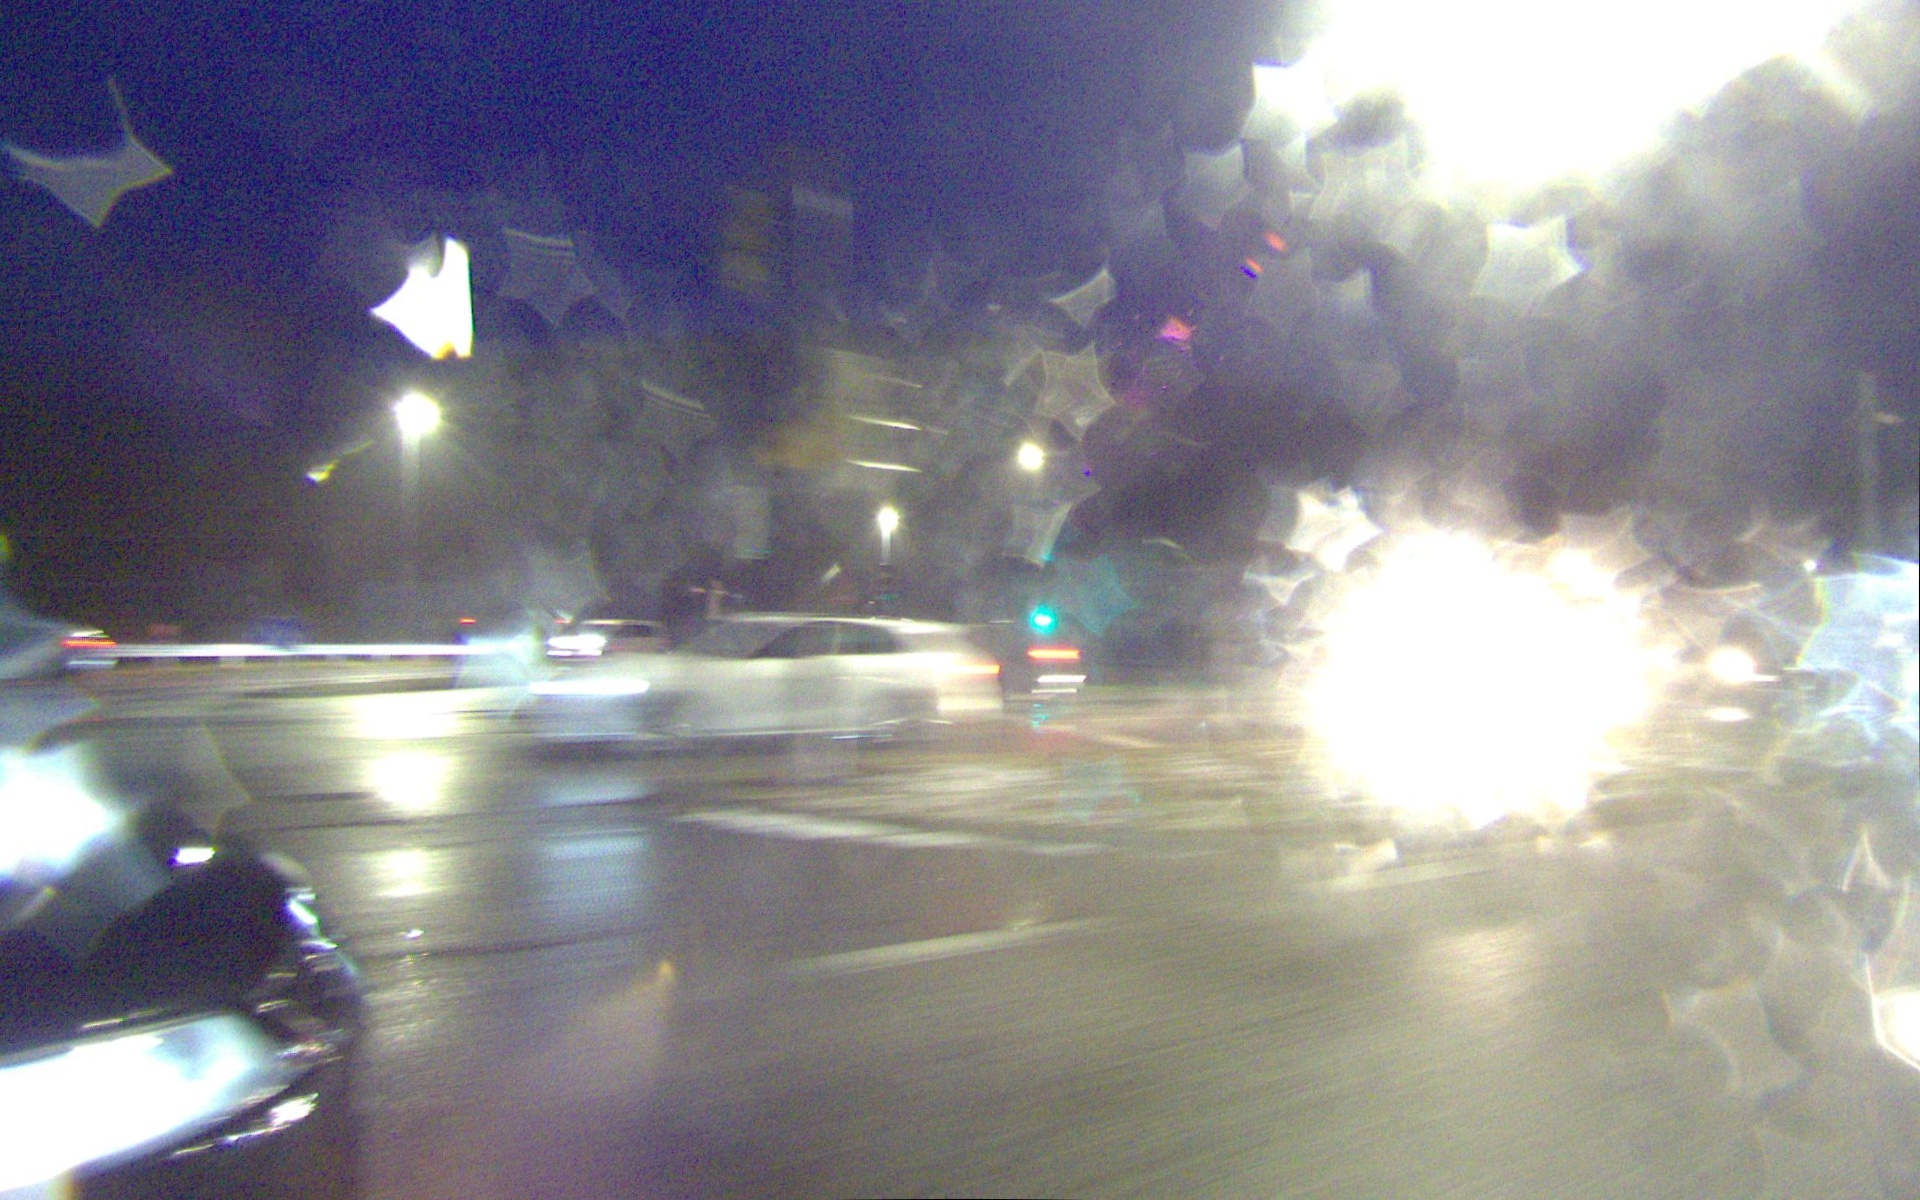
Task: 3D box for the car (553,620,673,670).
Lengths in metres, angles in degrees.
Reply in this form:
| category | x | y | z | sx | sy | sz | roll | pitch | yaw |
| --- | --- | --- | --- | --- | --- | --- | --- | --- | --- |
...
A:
| category | x | y | z | sx | sy | sz | roll | pitch | yaw |
| --- | --- | --- | --- | --- | --- | --- | --- | --- | --- |
| car | -14.717 | 1.912 | 42.908 | 1.962 | 1.965 | 4.923 | 1 | -2 | 23 |

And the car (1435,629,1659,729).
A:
| category | x | y | z | sx | sy | sz | roll | pitch | yaw |
| --- | --- | --- | --- | --- | --- | --- | --- | --- | --- |
| car | 10.033 | 1.340 | 17.151 | 3.604 | 1.545 | 1.580 | 3 | -2 | -26 |

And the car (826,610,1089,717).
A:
| category | x | y | z | sx | sy | sz | roll | pitch | yaw |
| --- | --- | --- | --- | --- | --- | --- | --- | --- | --- |
| car | -0.013 | 0.973 | 15.428 | 3.684 | 1.473 | 1.660 | 3 | -2 | -30 |

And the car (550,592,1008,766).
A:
| category | x | y | z | sx | sy | sz | roll | pitch | yaw |
| --- | --- | --- | --- | --- | --- | --- | --- | --- | --- |
| car | -1.906 | 0.808 | 11.028 | 4.653 | 1.592 | 1.692 | 2 | -1 | -28 |

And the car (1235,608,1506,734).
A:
| category | x | y | z | sx | sy | sz | roll | pitch | yaw |
| --- | --- | --- | --- | --- | --- | --- | --- | --- | --- |
| car | 6.265 | 1.068 | 15.273 | 3.899 | 1.713 | 1.675 | 3 | -2 | -27 |

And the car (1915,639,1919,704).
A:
| category | x | y | z | sx | sy | sz | roll | pitch | yaw |
| --- | --- | --- | --- | --- | --- | --- | --- | --- | --- |
| car | 25.236 | 1.802 | 24.229 | 4.539 | 1.554 | 1.703 | 3 | -2 | -25 |

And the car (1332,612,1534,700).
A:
| category | x | y | z | sx | sy | sz | roll | pitch | yaw |
| --- | --- | --- | --- | --- | --- | --- | --- | --- | --- |
| car | 10.267 | 1.224 | 21.781 | 3.950 | 1.743 | 1.986 | 3 | -2 | -28 |

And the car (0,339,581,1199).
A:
| category | x | y | z | sx | sy | sz | roll | pitch | yaw |
| --- | --- | --- | --- | --- | --- | --- | --- | --- | --- |
| car | -3.128 | 0.527 | 0.993 | 4.883 | 1.726 | 1.900 | 2 | -2 | -31 |

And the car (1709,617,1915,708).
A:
| category | x | y | z | sx | sy | sz | roll | pitch | yaw |
| --- | --- | --- | --- | --- | --- | --- | --- | --- | --- |
| car | 17.666 | 1.298 | 20.807 | 4.087 | 1.725 | 1.713 | 3 | -2 | -25 |

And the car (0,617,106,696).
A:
| category | x | y | z | sx | sy | sz | roll | pitch | yaw |
| --- | --- | --- | --- | --- | --- | --- | --- | --- | --- |
| car | -19.340 | 1.047 | 19.157 | 2.136 | 1.468 | 4.140 | 2 | -2 | 12 |
